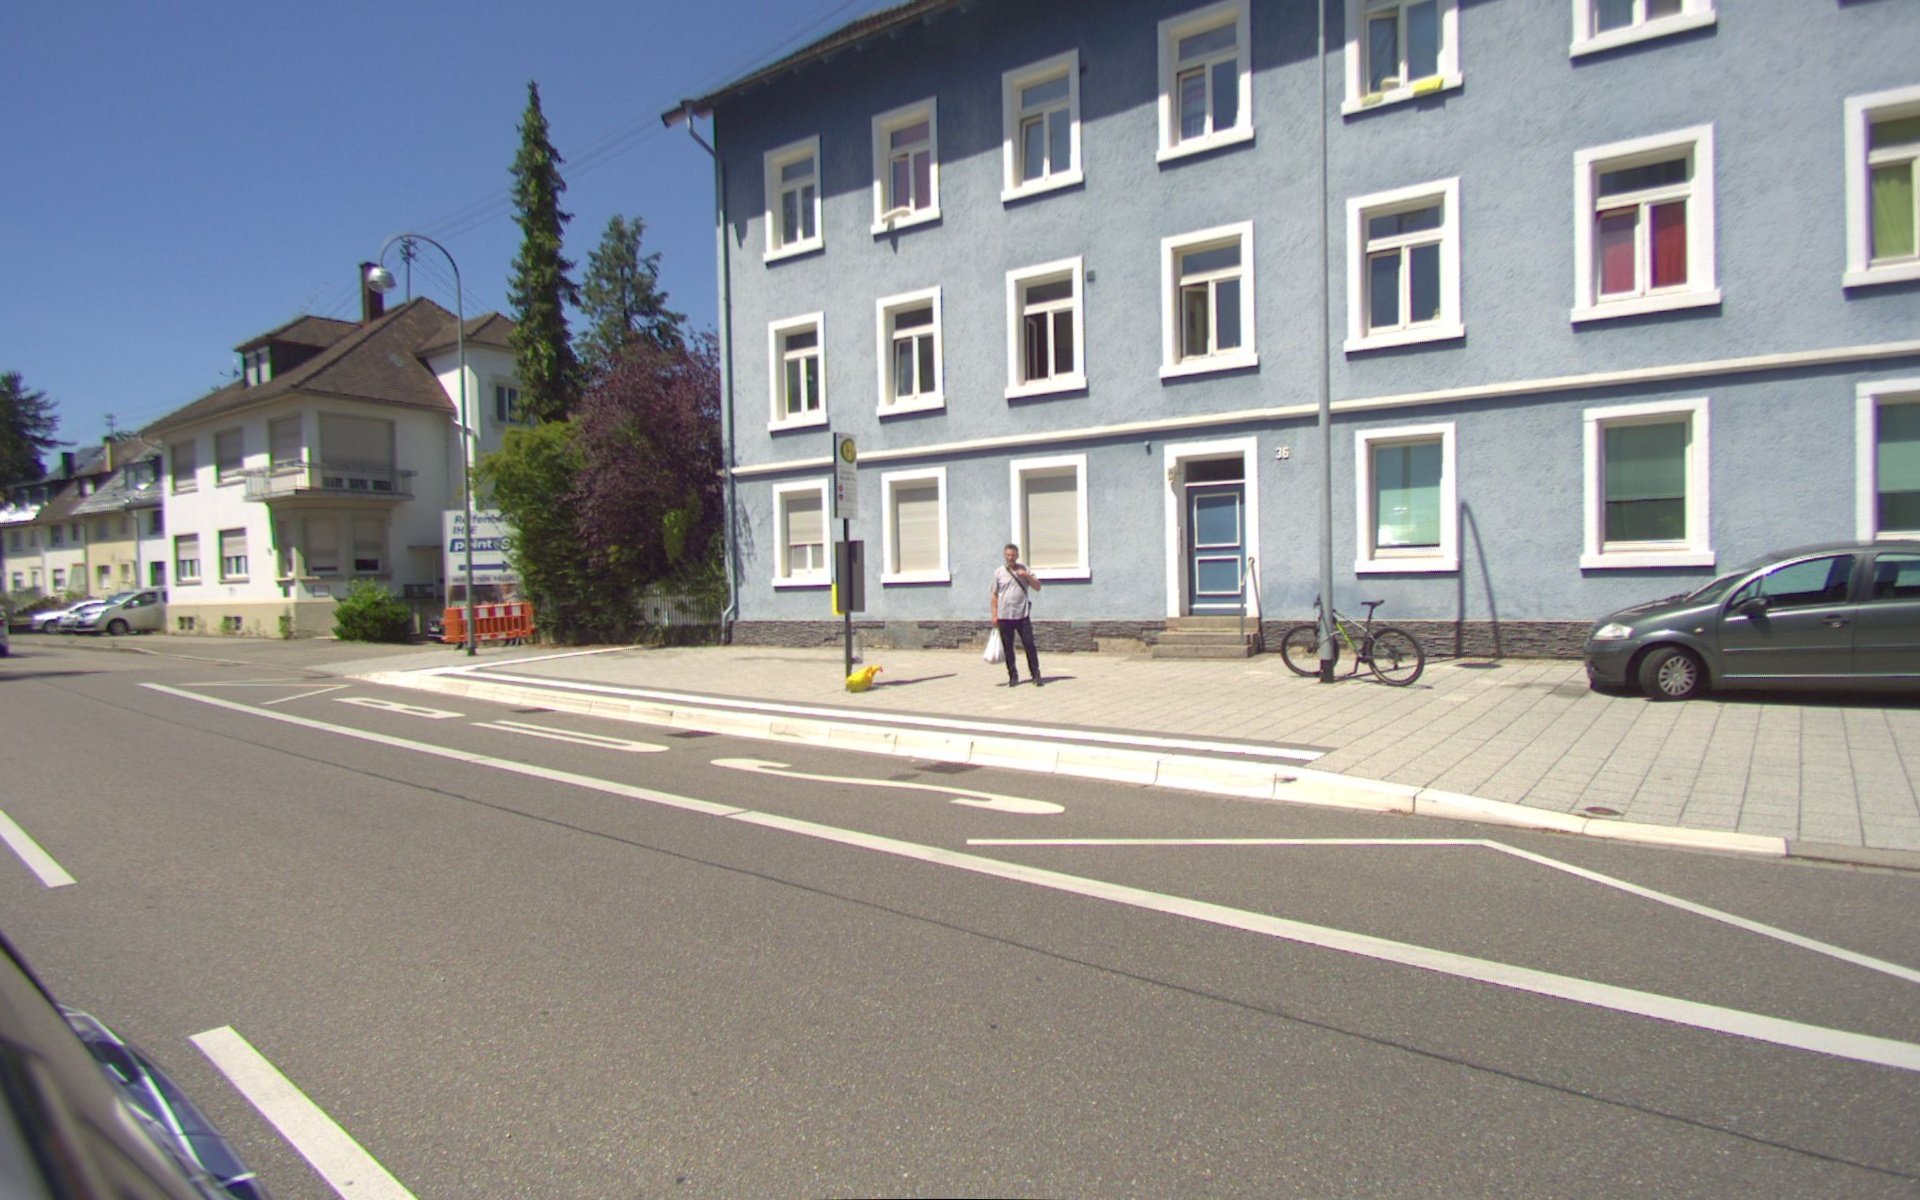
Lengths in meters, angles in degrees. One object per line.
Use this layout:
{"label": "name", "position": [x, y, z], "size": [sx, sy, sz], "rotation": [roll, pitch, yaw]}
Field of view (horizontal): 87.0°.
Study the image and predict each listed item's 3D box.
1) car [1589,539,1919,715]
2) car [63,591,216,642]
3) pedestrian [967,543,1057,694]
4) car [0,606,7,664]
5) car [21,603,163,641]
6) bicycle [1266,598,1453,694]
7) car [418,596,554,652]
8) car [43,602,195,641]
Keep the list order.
{"label": "car", "position": [8.402, 0.212, 9.907], "size": [3.766, 1.546, 1.564], "rotation": [1, 2, 34]}
{"label": "car", "position": [-32.191, 0.646, 39.823], "size": [1.841, 1.891, 4.325], "rotation": [-1, -1, 27]}
{"label": "pedestrian", "position": [0.683, 0.234, 13.166], "size": [0.769, 1.861, 0.750], "rotation": [-3, 3, 33]}
{"label": "car", "position": [-27.748, 0.940, 27.776], "size": [3.946, 1.541, 1.803], "rotation": [1, 2, 39]}
{"label": "car", "position": [-36.735, 0.919, 42.948], "size": [4.201, 1.507, 1.883], "rotation": [0, -1, -24]}
{"label": "bicycle", "position": [4.627, 0.496, 11.828], "size": [1.974, 0.984, 0.490], "rotation": [1, 6, 45]}
{"label": "car", "position": [-15.804, 0.757, 33.924], "size": [1.558, 1.551, 3.897], "rotation": [-9, -3, 28]}
{"label": "car", "position": [-34.178, 0.877, 41.242], "size": [1.972, 1.507, 4.432], "rotation": [-2, -1, 35]}
